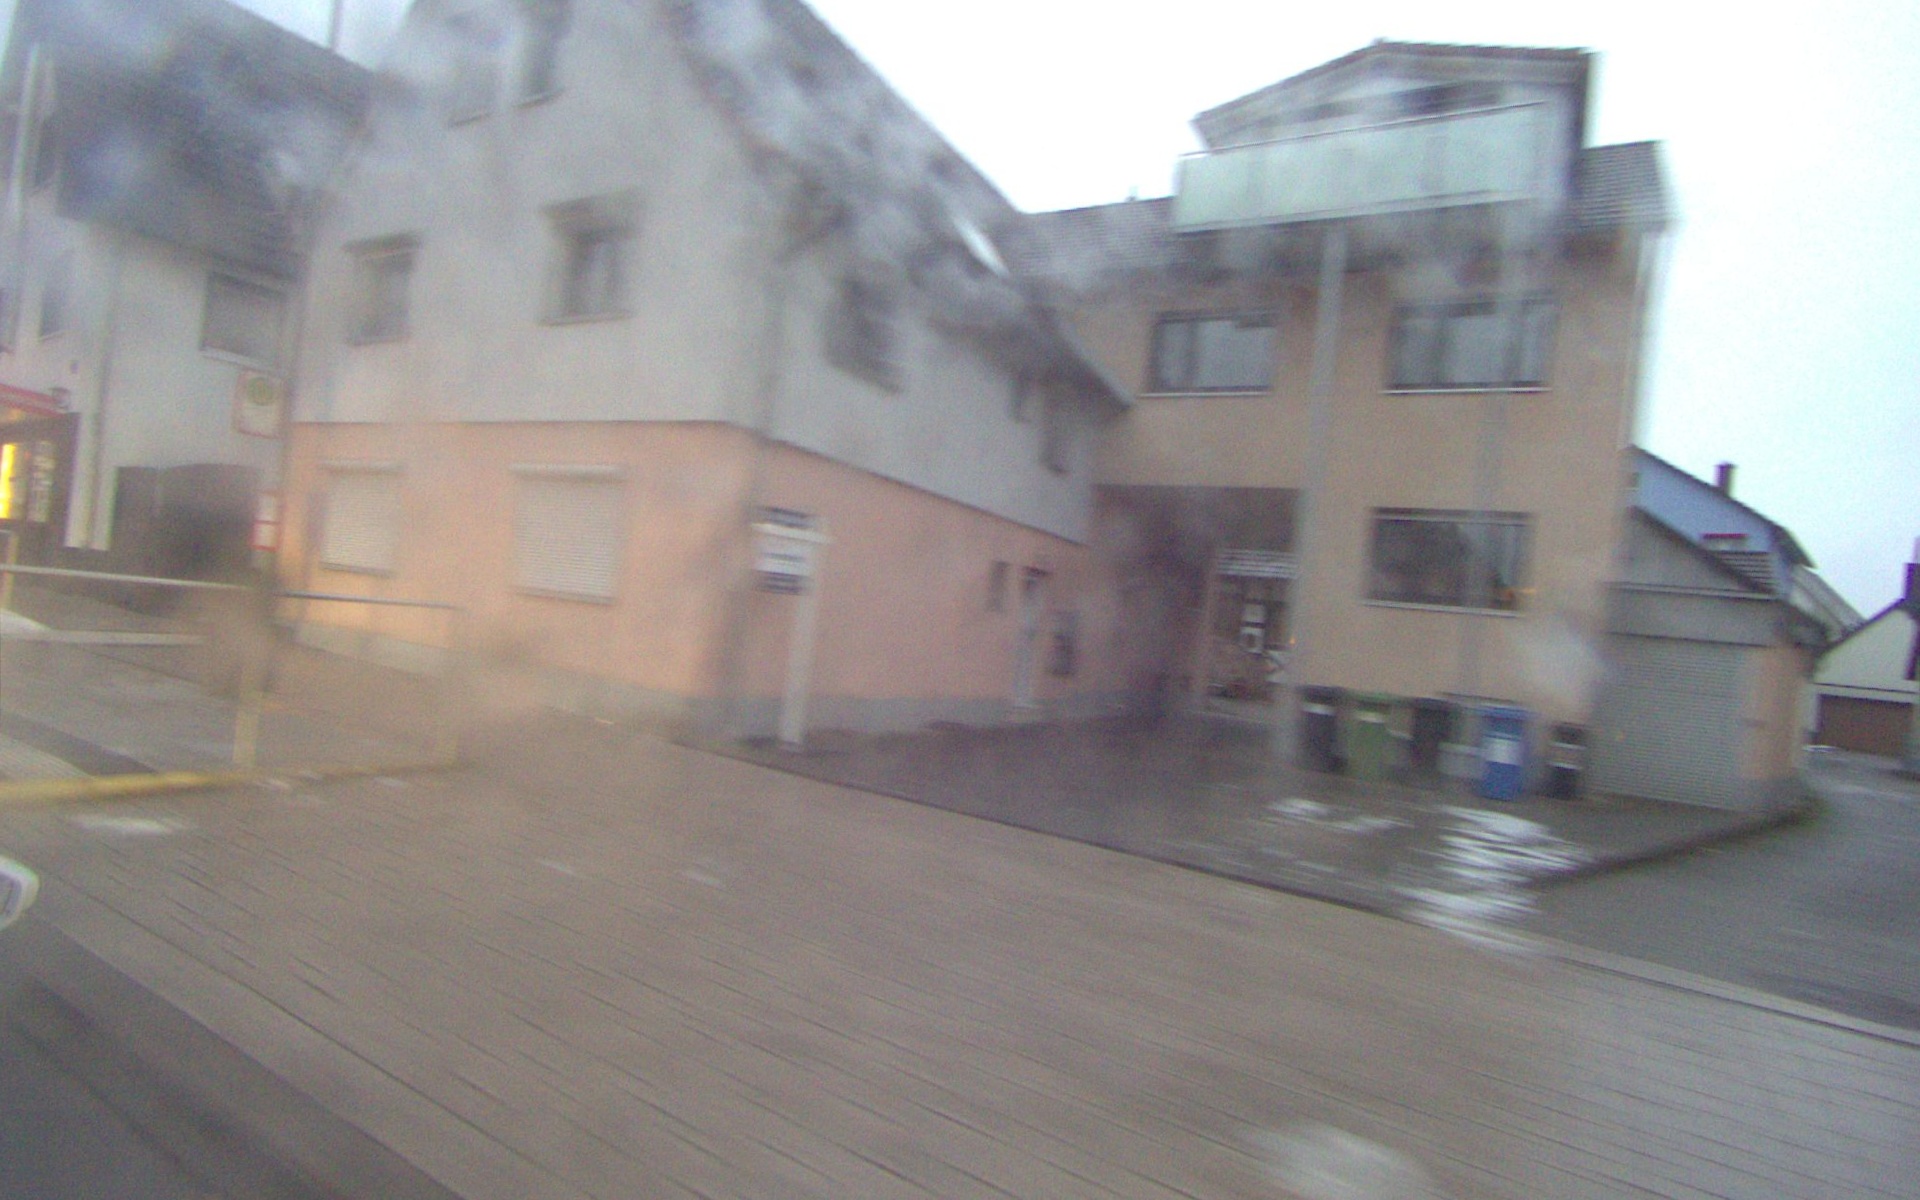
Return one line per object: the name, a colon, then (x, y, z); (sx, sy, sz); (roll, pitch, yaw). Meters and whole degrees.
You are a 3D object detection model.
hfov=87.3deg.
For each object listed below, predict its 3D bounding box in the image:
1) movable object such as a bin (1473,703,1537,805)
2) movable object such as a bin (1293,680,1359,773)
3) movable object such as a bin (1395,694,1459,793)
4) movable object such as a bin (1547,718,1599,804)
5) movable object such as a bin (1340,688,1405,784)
movable object such as a bin: (6.333, 1.762, 11.691); (0.534, 1.053, 0.728); (7, 0, 30)
movable object such as a bin: (4.612, 1.573, 12.656); (0.552, 1.053, 0.728); (7, 0, 30)
movable object such as a bin: (5.579, 1.692, 12.008); (0.534, 1.053, 0.728); (7, 0, 30)
movable object such as a bin: (7.457, 1.948, 12.262); (0.416, 0.937, 0.671); (7, 0, 29)
movable object such as a bin: (5.038, 1.635, 12.267); (0.534, 1.053, 0.728); (7, 0, 30)
